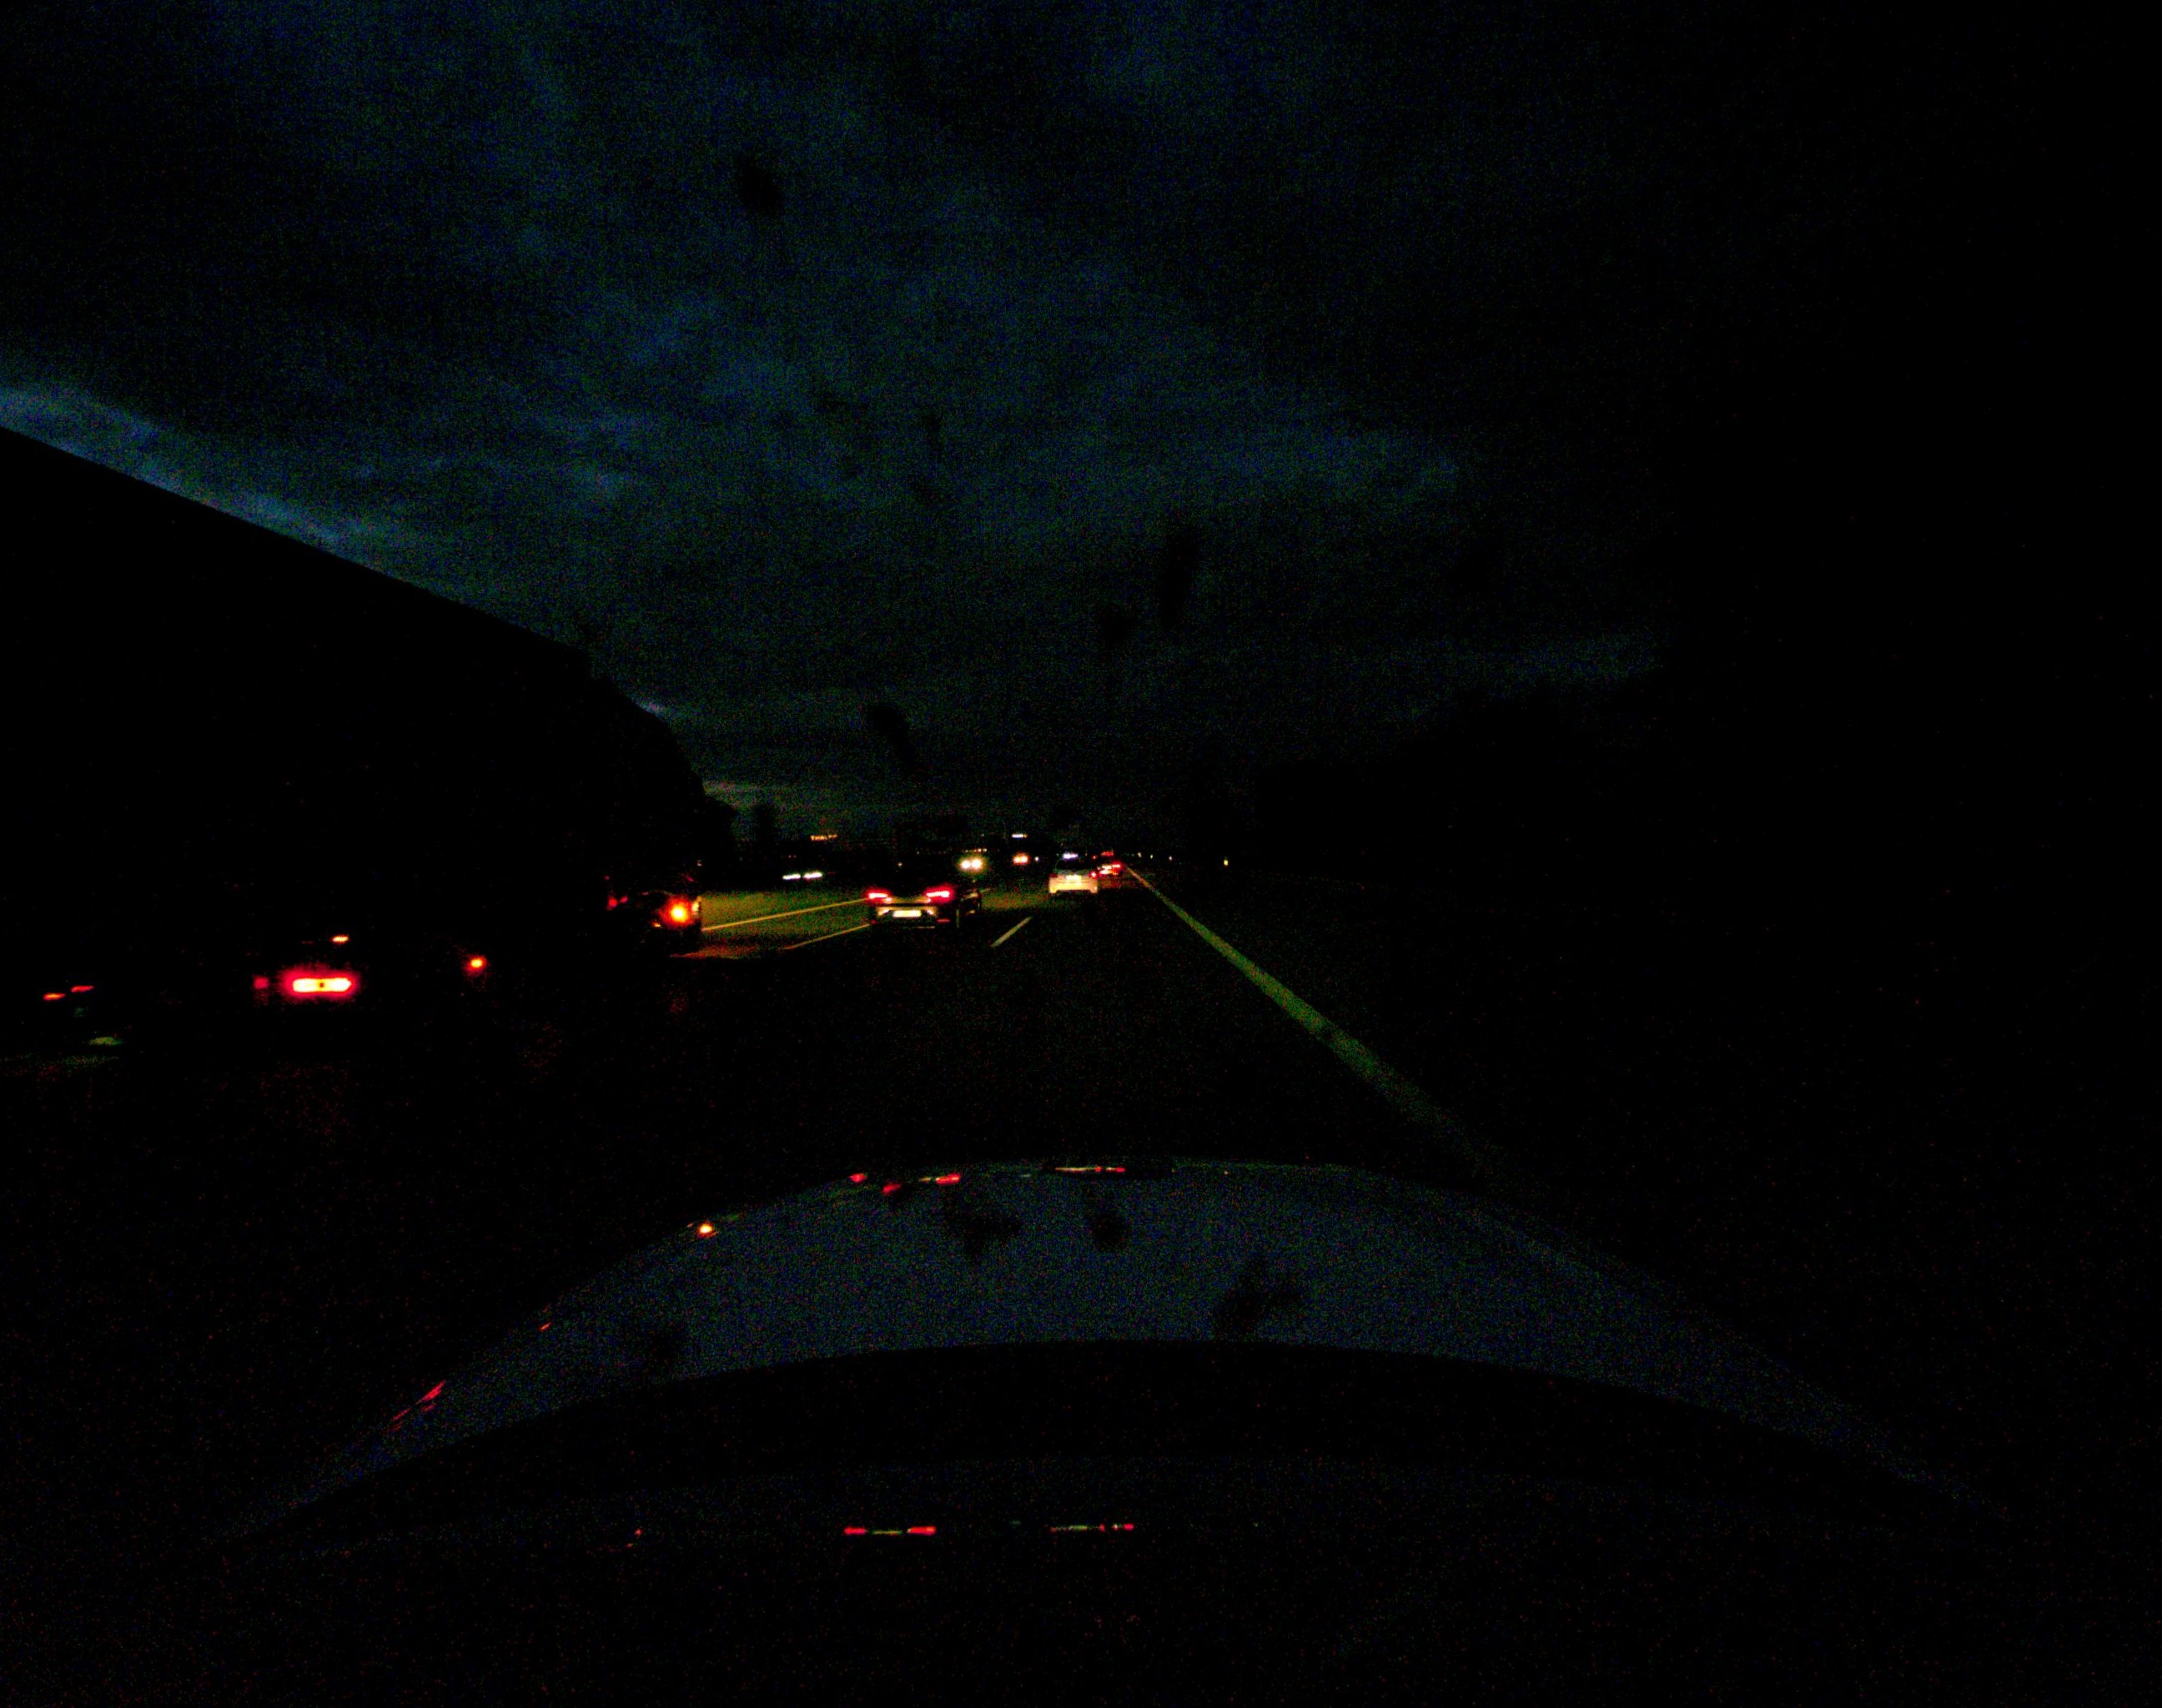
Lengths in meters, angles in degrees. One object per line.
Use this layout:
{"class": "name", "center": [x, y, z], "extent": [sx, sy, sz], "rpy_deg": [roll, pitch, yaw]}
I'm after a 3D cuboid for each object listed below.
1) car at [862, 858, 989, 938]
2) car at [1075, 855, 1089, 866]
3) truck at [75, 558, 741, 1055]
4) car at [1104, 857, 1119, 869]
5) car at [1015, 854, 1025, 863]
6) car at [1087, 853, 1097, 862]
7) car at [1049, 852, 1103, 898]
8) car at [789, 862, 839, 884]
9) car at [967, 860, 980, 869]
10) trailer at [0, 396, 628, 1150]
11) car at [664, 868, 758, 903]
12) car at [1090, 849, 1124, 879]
{"class": "car", "center": [-3.165, 0.841, 17.548], "extent": [1.716, 1.471, 4.727], "rpy_deg": [0, -1, 1]}
{"class": "car", "center": [0.176, 0.938, 113.370], "extent": [1.873, 1.552, 4.001], "rpy_deg": [0, -1, 1]}
{"class": "truck", "center": [-6.967, -0.369, 9.898], "extent": [2.766, 4.093, 6.107], "rpy_deg": [-2, -1, 3]}
{"class": "car", "center": [3.792, 1.123, 101.259], "extent": [1.873, 1.552, 4.001], "rpy_deg": [0, -1, 1]}
{"class": "car", "center": [-15.833, 1.115, 212.065], "extent": [1.986, 2.388, 5.838], "rpy_deg": [0, -1, 2]}
{"class": "car", "center": [2.357, 0.739, 175.879], "extent": [2.191, 1.879, 4.001], "rpy_deg": [0, -1, 2]}
{"class": "car", "center": [-0.105, 0.733, 29.472], "extent": [1.737, 1.525, 4.416], "rpy_deg": [-1, -1, 2]}
{"class": "car", "center": [-17.217, 1.224, 52.708], "extent": [1.737, 1.362, 4.113], "rpy_deg": [0, -1, 2]}
{"class": "car", "center": [-15.293, 1.499, 115.995], "extent": [1.358, 1.261, 3.508], "rpy_deg": [0, -1, 2]}
{"class": "trailer", "center": [-7.315, -0.433, 2.717], "extent": [2.783, 4.085, 14.535], "rpy_deg": [-2, -1, 3]}
{"class": "car", "center": [-14.231, 1.172, 31.568], "extent": [1.697, 1.248, 4.001], "rpy_deg": [0, -1, 2]}
{"class": "car", "center": [1.519, 0.571, 47.574], "extent": [1.873, 1.643, 4.001], "rpy_deg": [0, -1, 2]}
